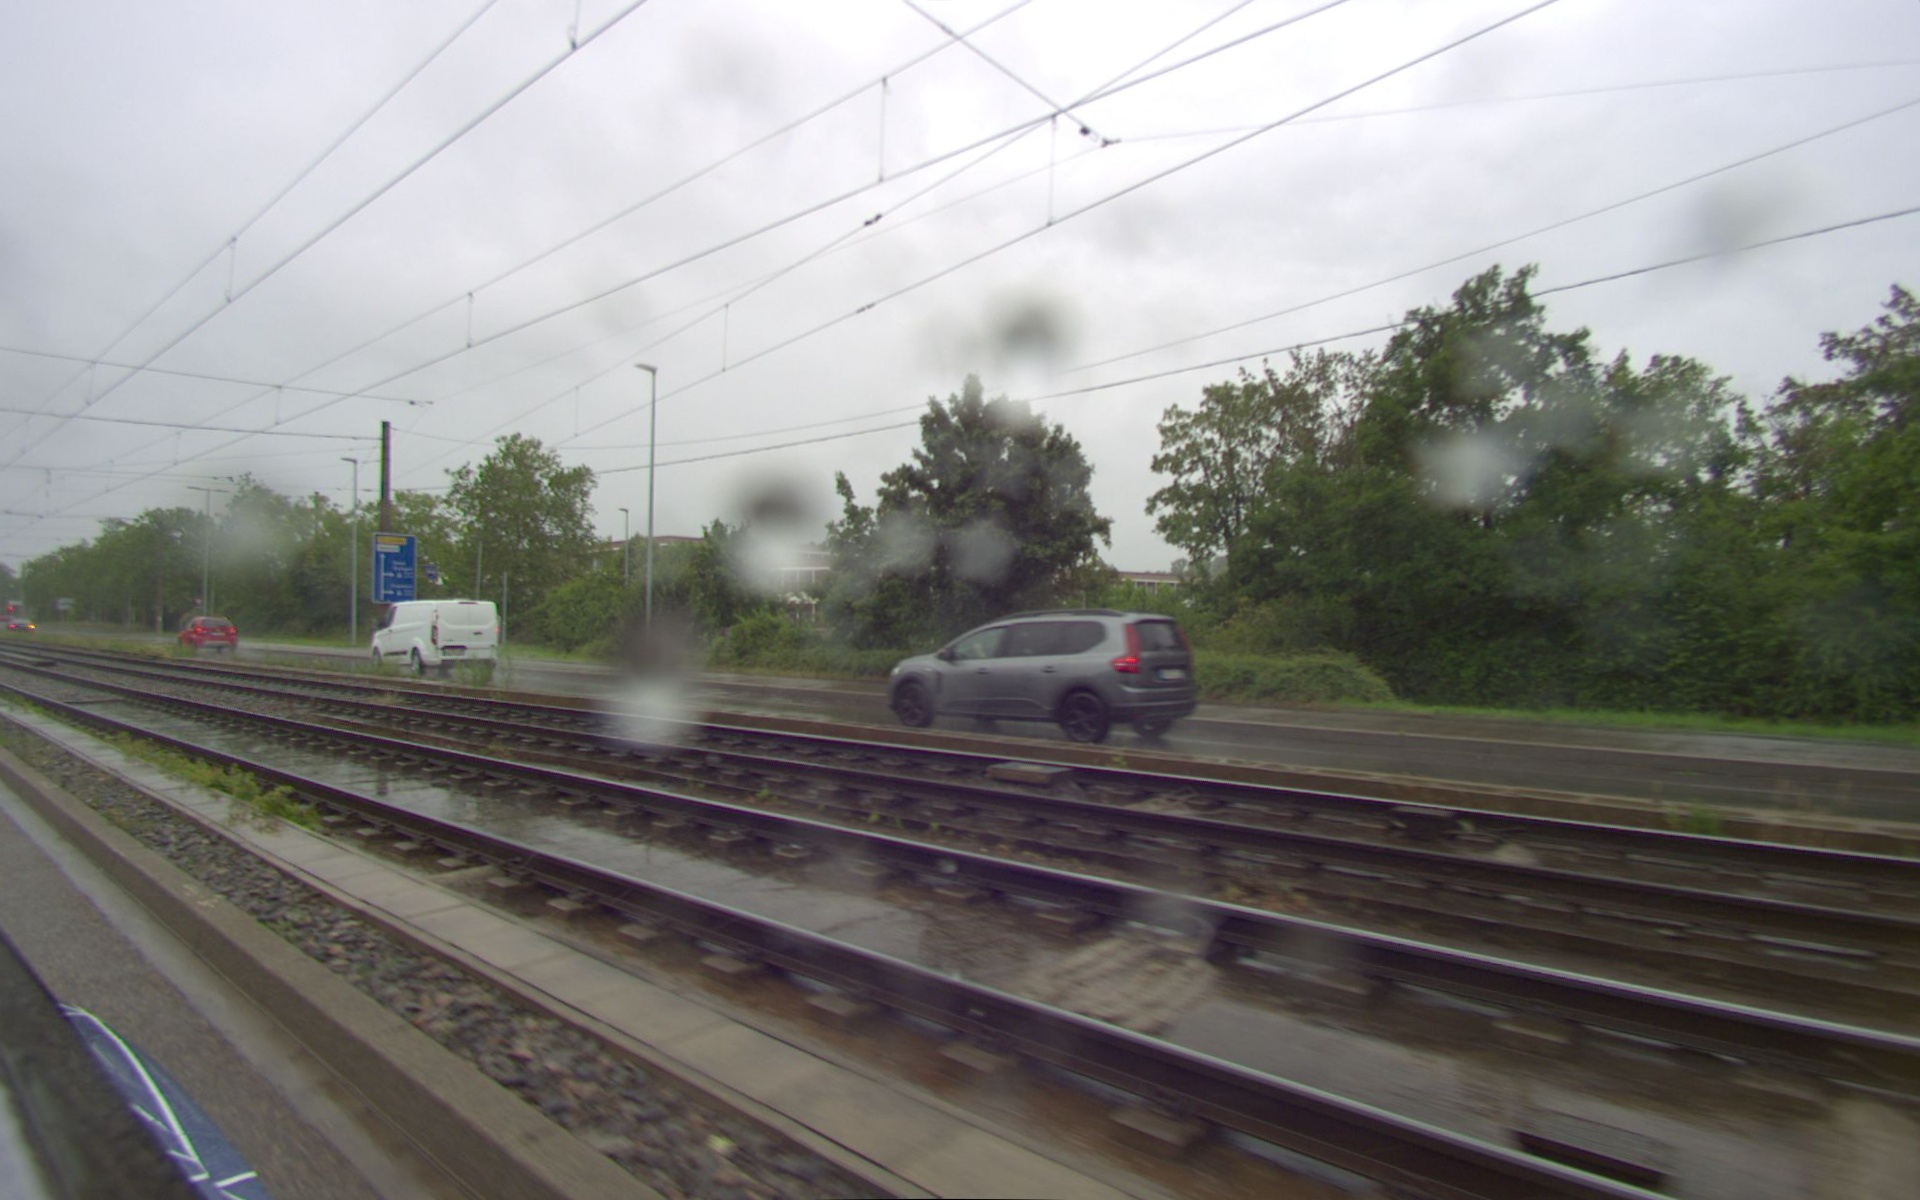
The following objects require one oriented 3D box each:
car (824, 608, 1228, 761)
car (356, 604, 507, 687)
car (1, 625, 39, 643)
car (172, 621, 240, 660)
[{"bbox_3d":[0.693,0.989,13.744,5.368,1.661,1.973,-1,0,41],"label":"car"},{"bbox_3d":[-14.622,1.185,27.892,5.025,2.059,1.973,-1,0,41],"label":"car"},{"bbox_3d":[-87.286,3.145,93.986,4.953,1.534,1.973,-1,0,40],"label":"car"},{"bbox_3d":[-34.090,1.782,45.707,3.649,1.613,1.706,-1,0,41],"label":"car"}]
